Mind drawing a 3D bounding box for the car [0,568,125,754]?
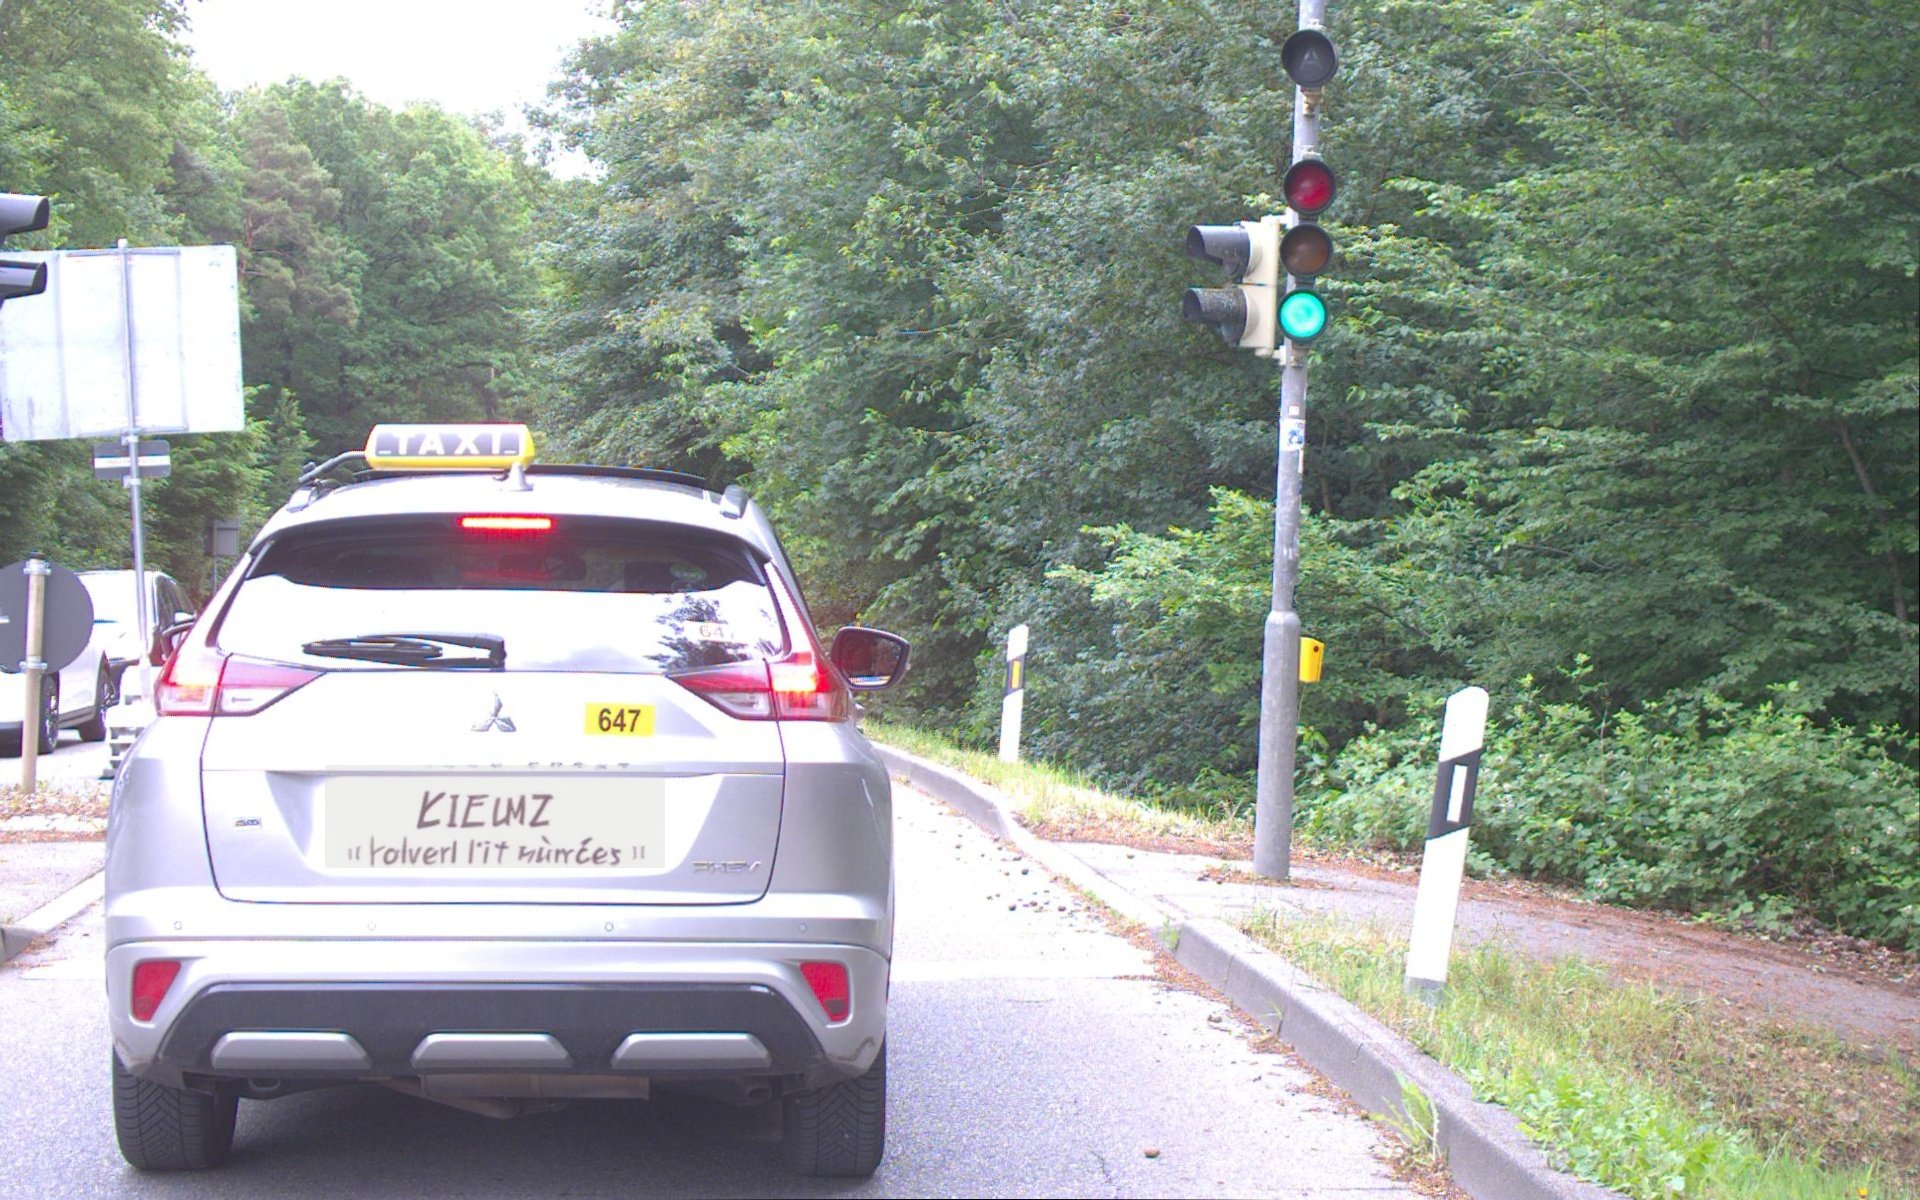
[{"bbox_3d":[-7.846,0.459,27.385,1.612,1.317,3.722,-2,2,-3],"label":"car"}]

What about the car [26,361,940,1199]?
[{"bbox_3d":[-1.204,0.386,9.137,1.846,1.774,4.001,1,1,-6],"label":"car"}]

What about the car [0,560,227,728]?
[{"bbox_3d":[-8.378,0.393,33.507,1.811,1.503,3.722,-2,0,-3],"label":"car"}]
